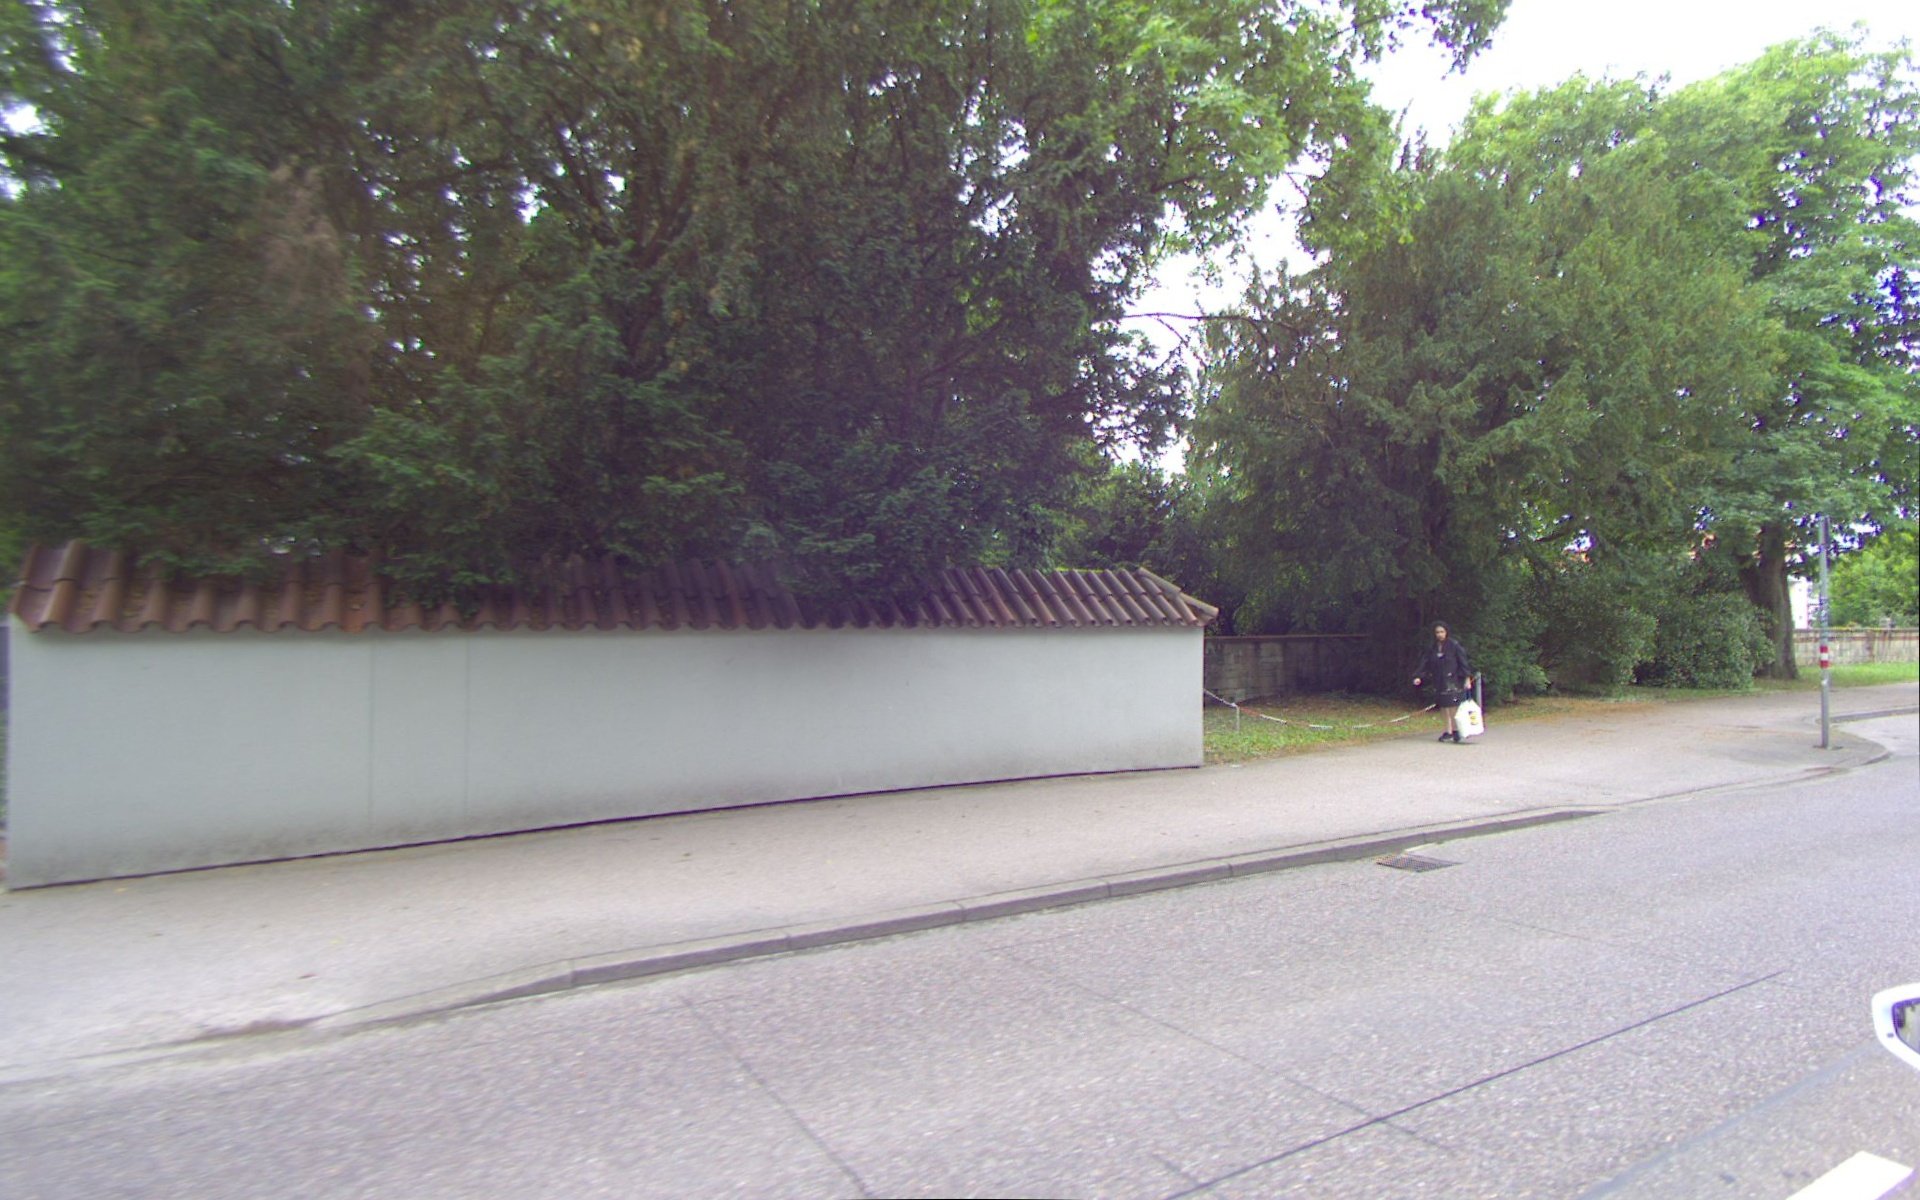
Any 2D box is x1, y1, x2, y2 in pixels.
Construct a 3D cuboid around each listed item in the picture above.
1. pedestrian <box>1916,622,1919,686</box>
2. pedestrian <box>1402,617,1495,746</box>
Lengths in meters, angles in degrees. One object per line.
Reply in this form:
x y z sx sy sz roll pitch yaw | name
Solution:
24.249 1.345 24.808 0.957 1.599 0.743 1 1 -36 | pedestrian
6.446 1.036 13.252 0.914 1.581 0.898 1 1 39 | pedestrian
